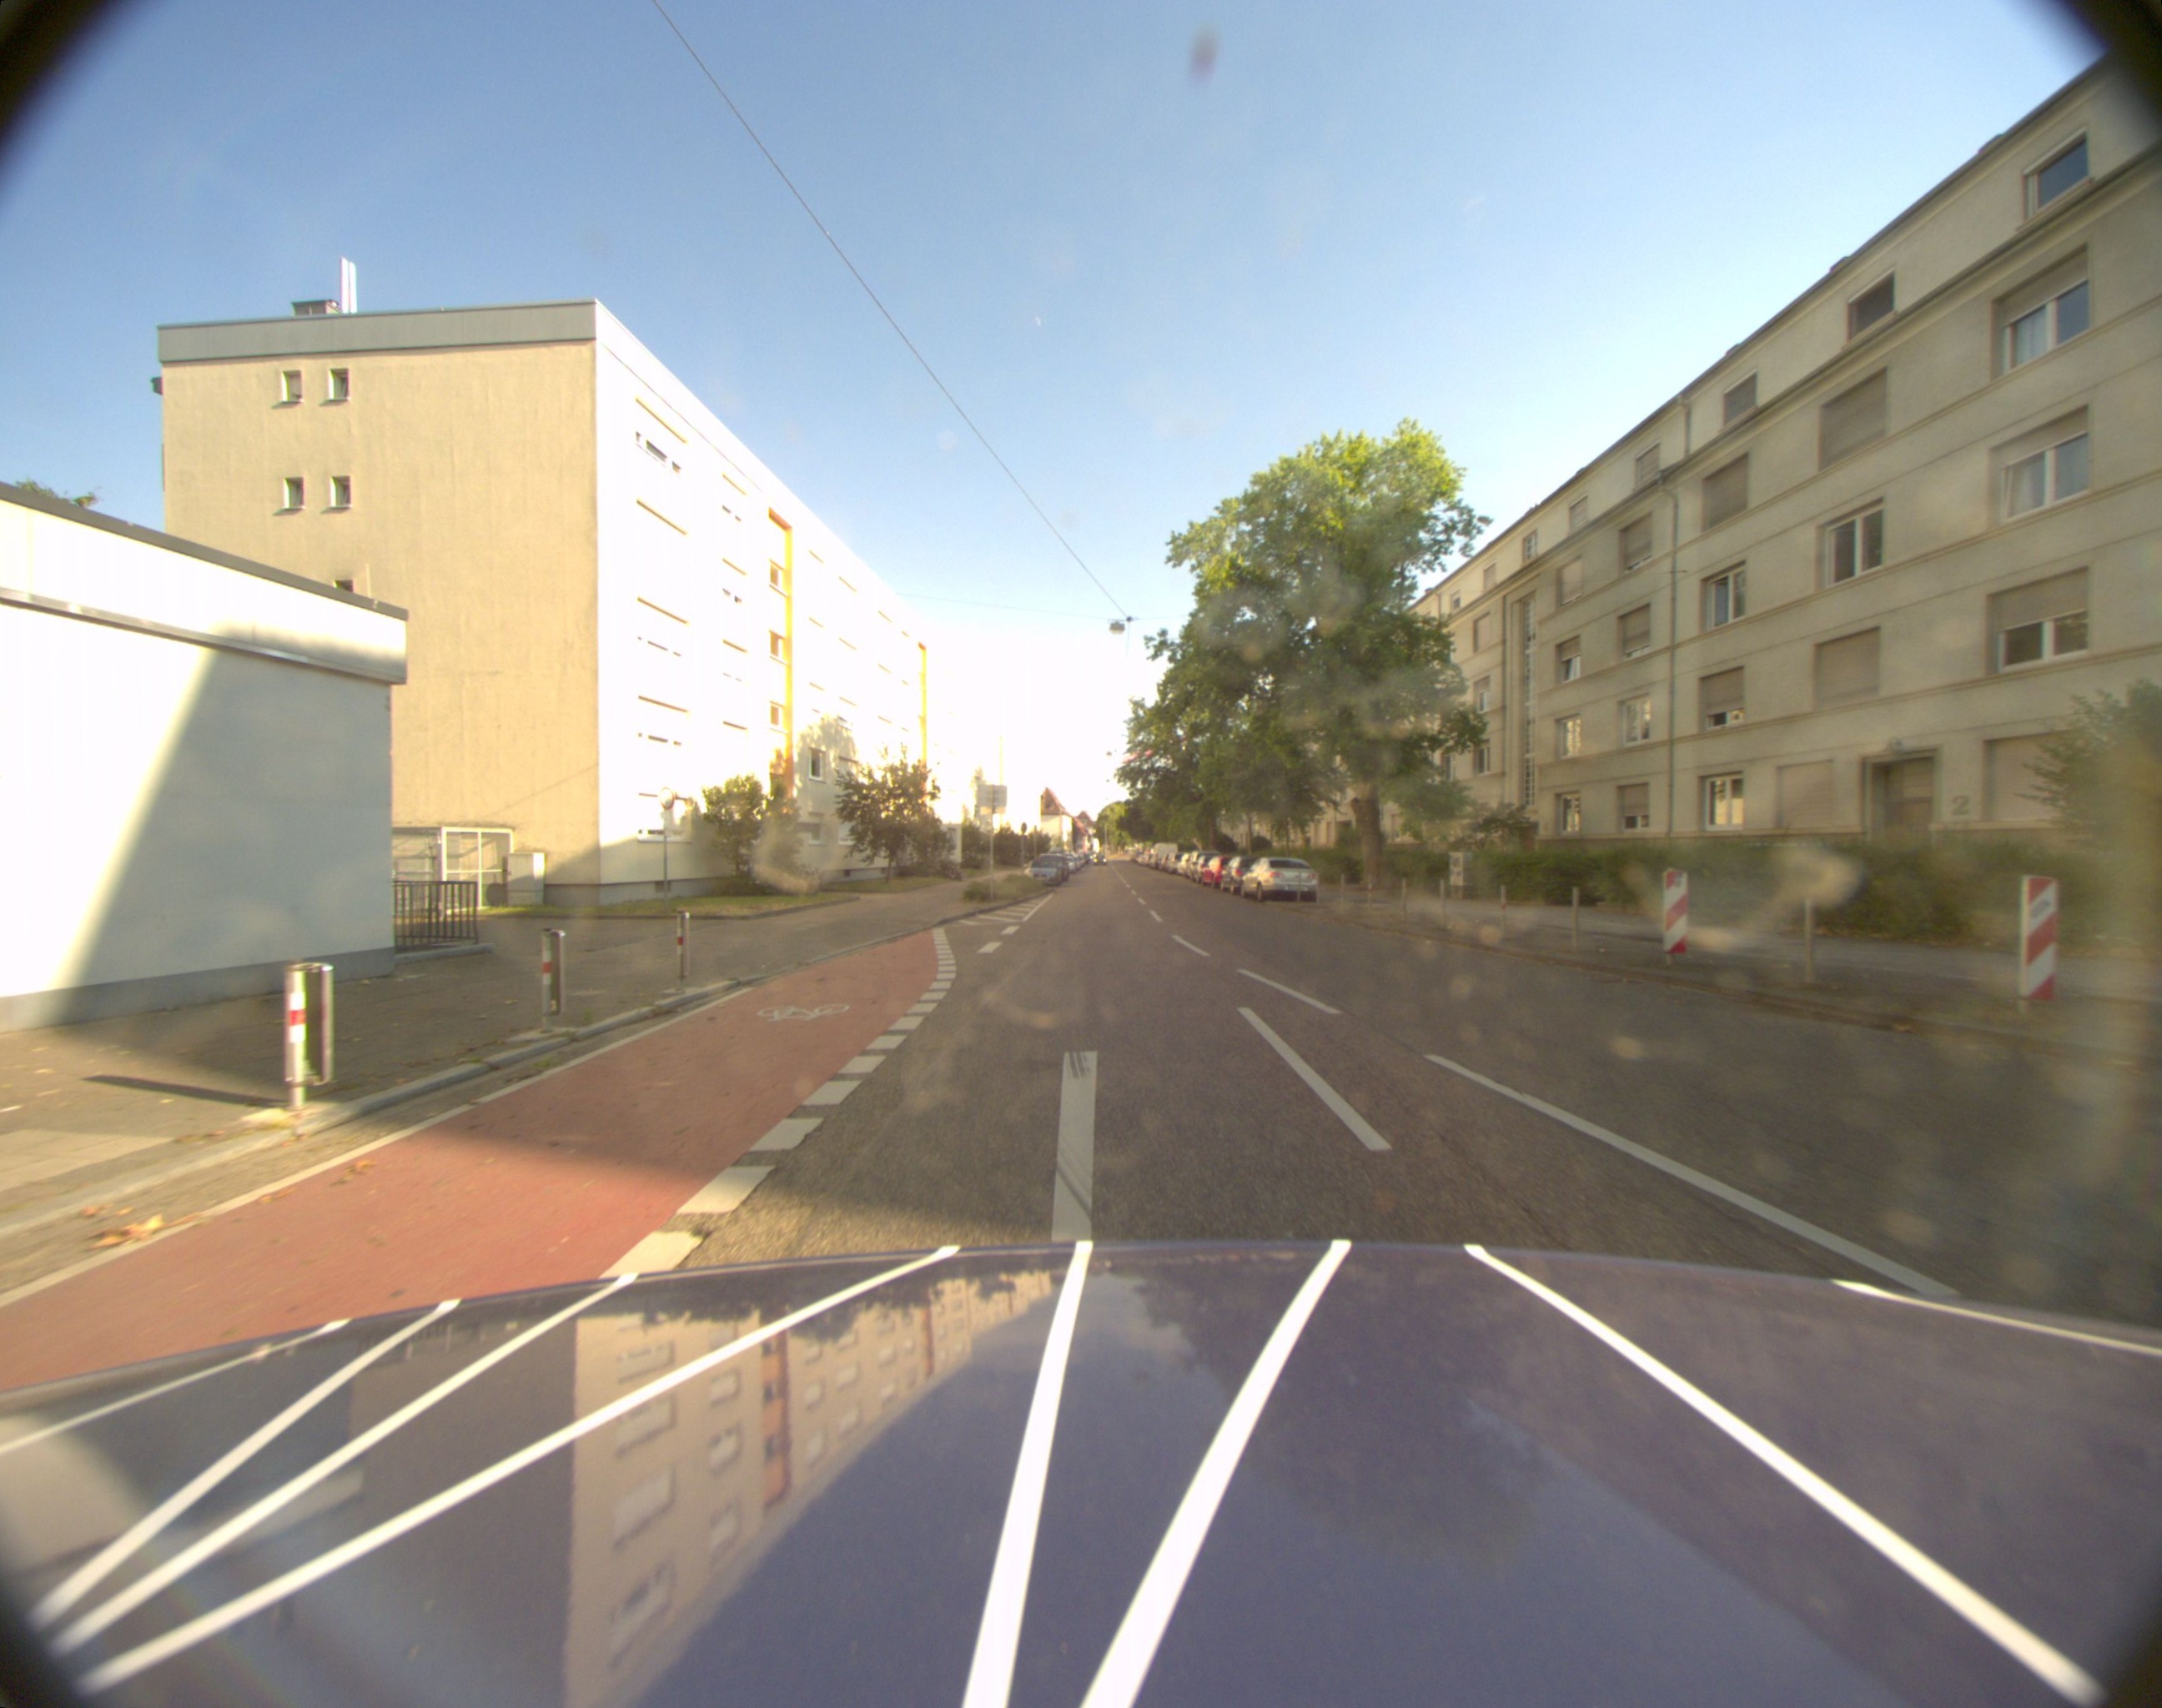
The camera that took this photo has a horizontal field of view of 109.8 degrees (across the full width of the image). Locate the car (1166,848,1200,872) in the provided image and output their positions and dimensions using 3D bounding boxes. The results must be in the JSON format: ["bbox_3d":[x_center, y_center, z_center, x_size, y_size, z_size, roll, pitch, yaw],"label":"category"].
[{"bbox_3d":[7.459,0.389,55.852,1.875,1.549,5.057,4,0,1],"label":"car"}]

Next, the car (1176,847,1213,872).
[{"bbox_3d":[7.539,0.374,50.737,1.875,1.549,4.101,2,0,1],"label":"car"}]

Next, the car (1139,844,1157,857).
[{"bbox_3d":[9.182,-0.471,104.258,2.009,1.543,4.470,-2,2,0],"label":"car"}]

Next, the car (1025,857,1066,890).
[{"bbox_3d":[-1.799,0.963,39.699,1.745,1.465,3.999,-2,2,2],"label":"car"}]

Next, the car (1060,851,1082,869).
[{"bbox_3d":[-0.940,0.571,74.162,1.841,1.493,4.172,2,2,3],"label":"car"}]

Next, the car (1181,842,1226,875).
[{"bbox_3d":[7.190,0.219,44.927,1.921,1.668,4.973,-3,2,2],"label":"car"}]

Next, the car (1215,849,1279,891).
[{"bbox_3d":[6.448,0.570,29.881,1.708,1.431,4.128,-1,2,2],"label":"car"}]

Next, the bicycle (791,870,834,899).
[{"bbox_3d":[-9.371,1.045,26.589,0.638,0.920,2.230,-2,-1,2],"label":"bicycle"}]

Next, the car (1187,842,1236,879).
[{"bbox_3d":[6.800,0.289,39.913,1.875,1.550,4.495,-2,3,2],"label":"car"}]

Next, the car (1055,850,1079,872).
[{"bbox_3d":[-1.141,0.550,63.355,1.683,1.407,4.723,7,2,1],"label":"car"}]

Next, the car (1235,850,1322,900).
[{"bbox_3d":[6.418,0.617,25.187,1.773,1.345,4.710,-1,2,2],"label":"car"}]

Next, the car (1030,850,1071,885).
[{"bbox_3d":[-1.709,0.720,44.614,1.932,1.649,4.676,-7,1,1],"label":"car"}]

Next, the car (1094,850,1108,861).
[{"bbox_3d":[2.703,0.173,102.865,1.775,1.492,3.674,-1,0,3],"label":"car"}]

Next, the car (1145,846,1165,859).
[{"bbox_3d":[8.617,-0.184,89.006,1.878,1.348,4.652,-1,1,-1],"label":"car"}]

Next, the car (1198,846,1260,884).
[{"bbox_3d":[6.675,0.445,34.704,1.876,1.549,3.998,-2,1,-2],"label":"car"}]

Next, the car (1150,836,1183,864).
[{"bbox_3d":[8.080,-0.454,72.405,2.364,2.432,6.163,-4,1,1],"label":"car"}]

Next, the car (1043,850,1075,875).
[{"bbox_3d":[-1.424,0.543,51.413,1.902,1.641,4.342,-1,0,1],"label":"car"}]
